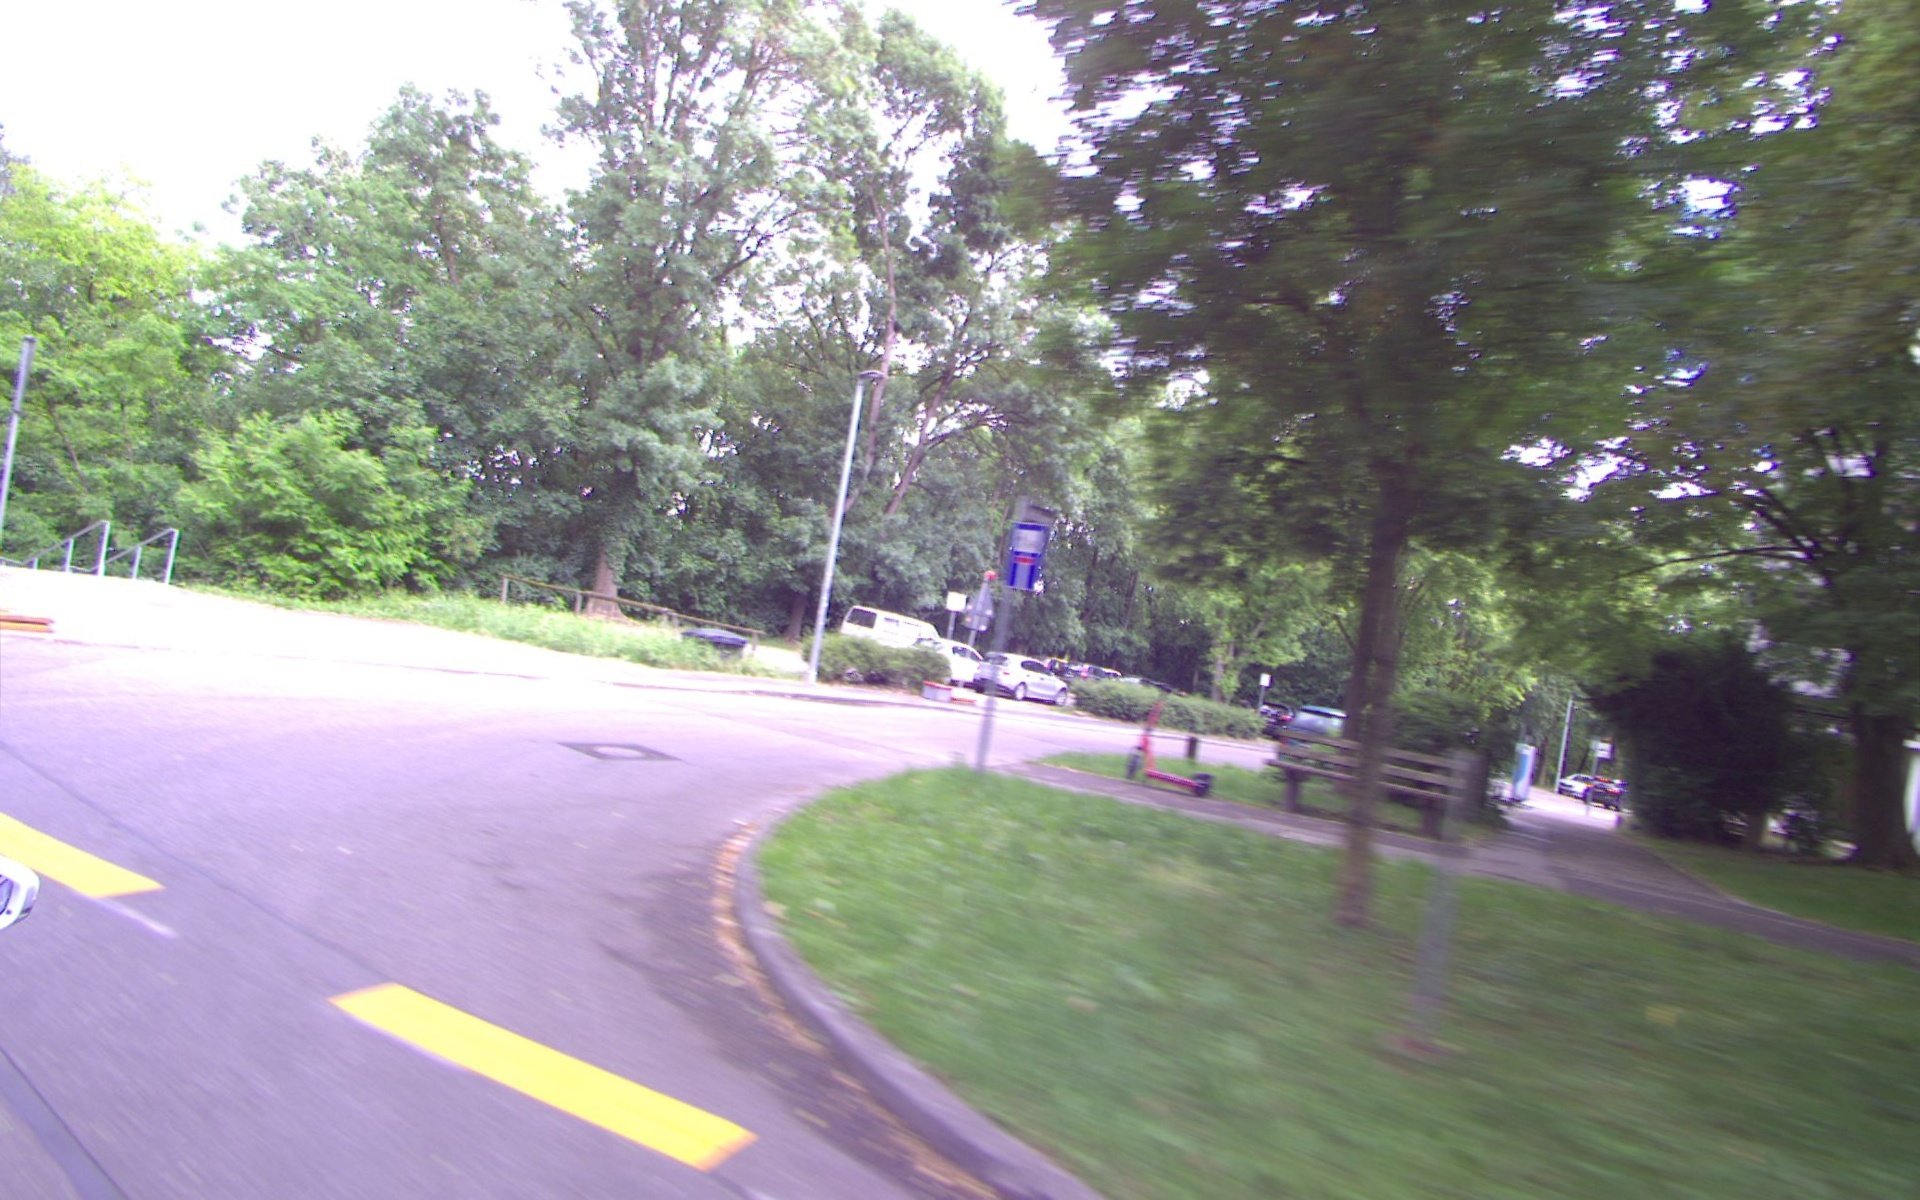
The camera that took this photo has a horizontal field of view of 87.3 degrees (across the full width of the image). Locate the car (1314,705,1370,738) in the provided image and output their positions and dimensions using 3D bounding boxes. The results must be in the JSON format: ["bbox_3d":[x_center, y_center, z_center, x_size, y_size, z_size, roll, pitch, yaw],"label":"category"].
[{"bbox_3d":[21.801,6.943,57.352,1.773,1.516,4.209,6,-2,37],"label":"car"}]

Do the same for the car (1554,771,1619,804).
[{"bbox_3d":[37.448,11.193,60.128,3.638,1.503,1.639,9,-2,-29],"label":"car"}]

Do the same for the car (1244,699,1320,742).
[{"bbox_3d":[14.097,5.293,43.861,1.773,1.516,4.209,6,-2,37],"label":"car"}]

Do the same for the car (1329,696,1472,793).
[{"bbox_3d":[10.721,3.506,24.312,1.806,1.869,4.395,7,-3,41],"label":"car"}]

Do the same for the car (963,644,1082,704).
[{"bbox_3d":[2.119,2.483,33.152,1.773,1.516,4.209,6,-2,37],"label":"car"}]

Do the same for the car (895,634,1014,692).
[{"bbox_3d":[-0.120,2.172,34.263,1.773,1.516,4.209,6,-2,37],"label":"car"}]

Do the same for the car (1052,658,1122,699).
[{"bbox_3d":[6.318,3.913,49.898,1.804,1.587,3.520,7,-3,37],"label":"car"}]

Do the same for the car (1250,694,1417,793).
[{"bbox_3d":[7.709,2.965,20.626,1.809,1.588,3.512,7,-3,44],"label":"car"}]

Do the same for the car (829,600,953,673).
[{"bbox_3d":[-2.395,1.344,36.058,1.970,2.036,4.209,7,-2,37],"label":"car"}]

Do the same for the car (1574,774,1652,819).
[{"bbox_3d":[35.131,10.573,54.118,4.372,1.869,1.816,10,-2,-34],"label":"car"}]

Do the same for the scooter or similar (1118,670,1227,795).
[{"bbox_3d":[2.521,1.561,11.982,1.090,1.301,0.283,7,-1,35],"label":"scooter or similar"}]

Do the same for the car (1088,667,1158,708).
[{"bbox_3d":[7.895,4.247,48.643,1.742,1.587,3.520,7,-3,37],"label":"car"}]
